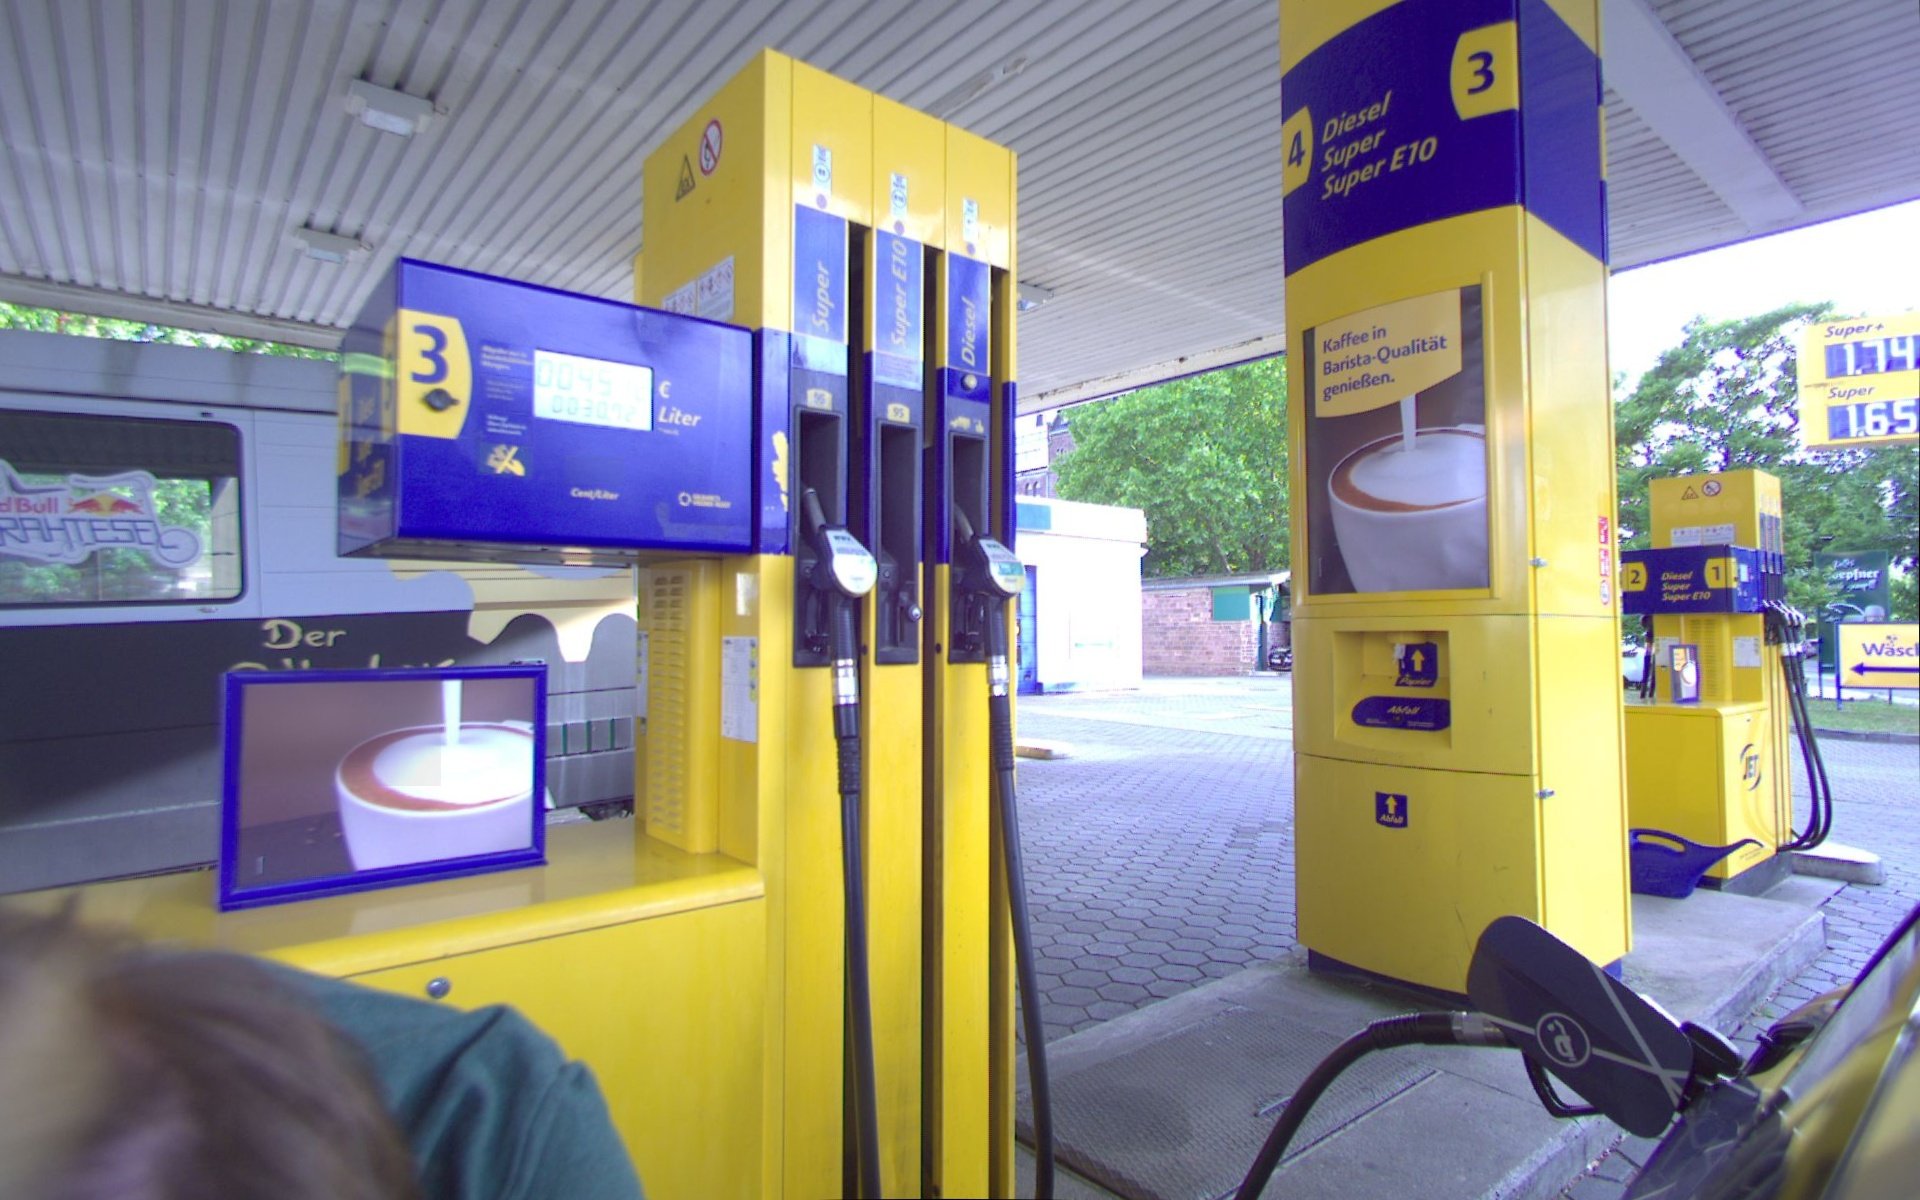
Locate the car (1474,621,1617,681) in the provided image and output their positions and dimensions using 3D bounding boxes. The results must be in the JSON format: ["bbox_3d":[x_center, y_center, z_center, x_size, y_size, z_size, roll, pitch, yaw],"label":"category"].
[{"bbox_3d":[17.843,1.578,30.801,4.303,1.622,1.776,4,-4,-28],"label":"car"}]

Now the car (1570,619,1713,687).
[{"bbox_3d":[18.353,1.436,27.202,4.308,1.622,1.774,4,-4,-35],"label":"car"}]

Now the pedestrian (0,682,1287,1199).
[{"bbox_3d":[-0.334,0.739,0.544,0.662,1.298,0.751,0,0,-41],"label":"pedestrian"}]

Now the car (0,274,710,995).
[{"bbox_3d":[-4.109,0.148,4.891,5.197,2.726,2.258,1,-2,-39],"label":"car"}]

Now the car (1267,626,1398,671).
[{"bbox_3d":[12.687,1.640,34.427,4.303,1.393,1.777,2,-1,-28],"label":"car"}]

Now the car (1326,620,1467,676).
[{"bbox_3d":[13.884,1.518,32.136,4.303,1.622,1.777,2,-1,-28],"label":"car"}]
